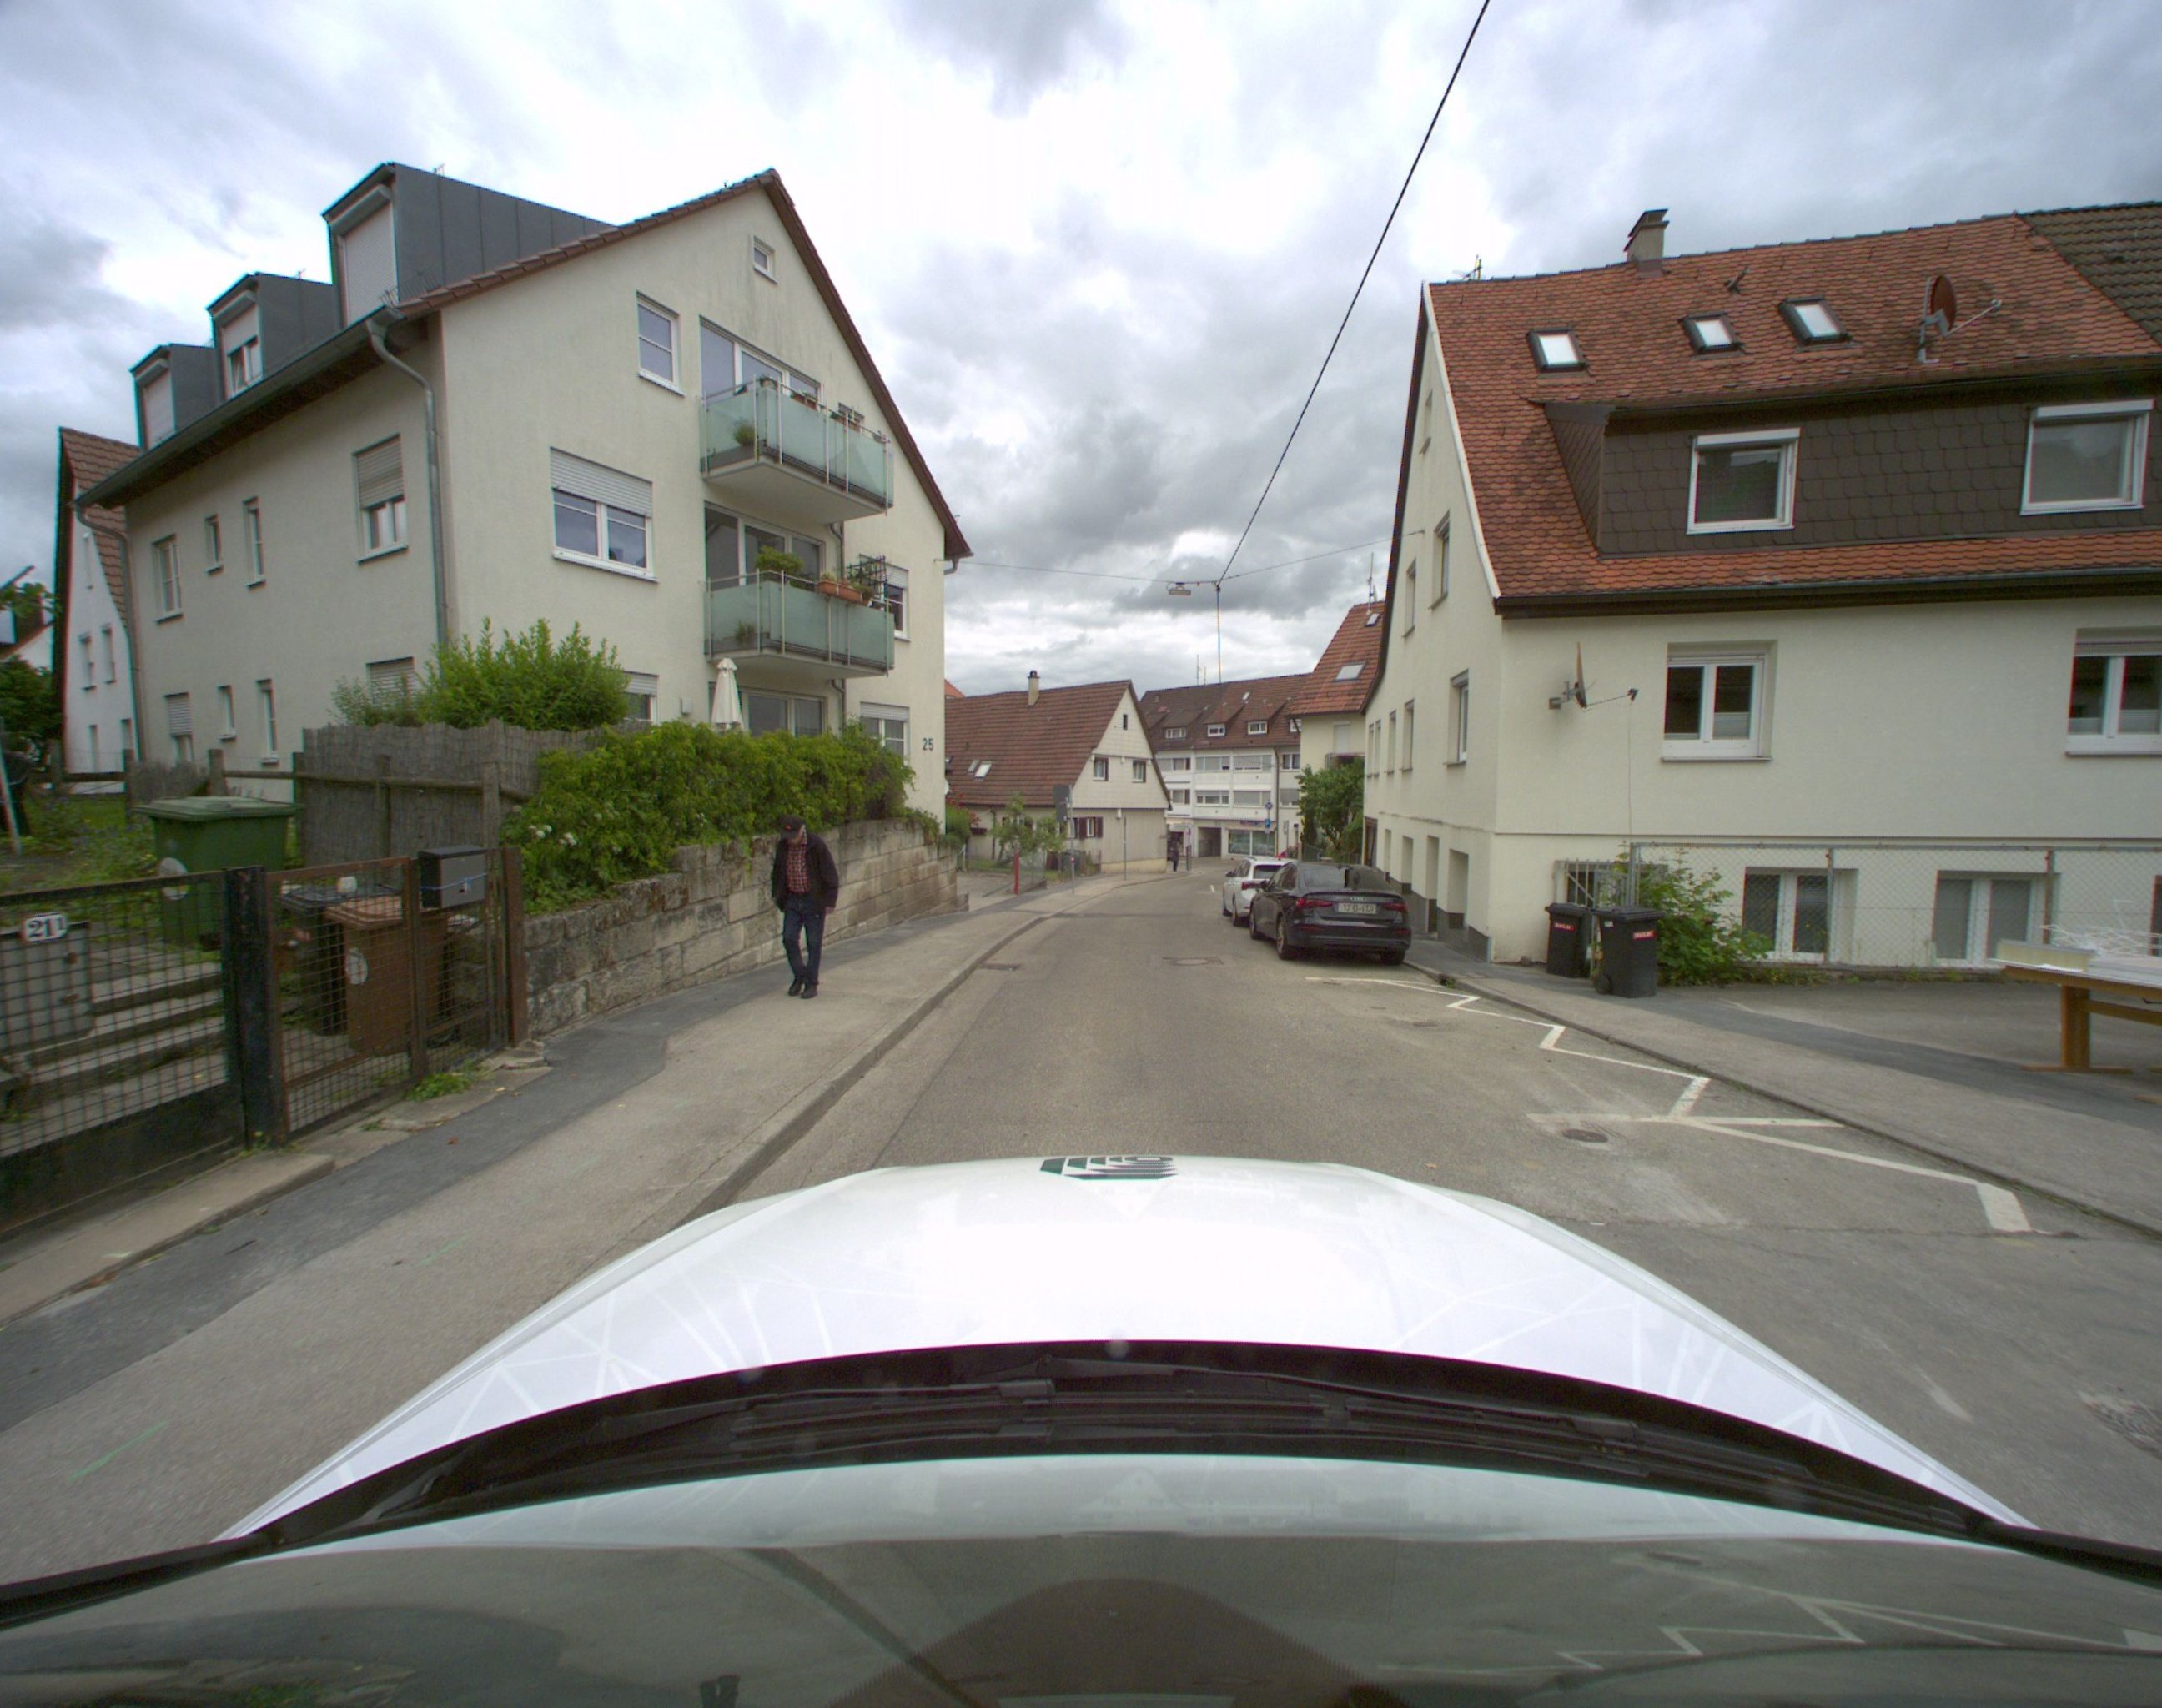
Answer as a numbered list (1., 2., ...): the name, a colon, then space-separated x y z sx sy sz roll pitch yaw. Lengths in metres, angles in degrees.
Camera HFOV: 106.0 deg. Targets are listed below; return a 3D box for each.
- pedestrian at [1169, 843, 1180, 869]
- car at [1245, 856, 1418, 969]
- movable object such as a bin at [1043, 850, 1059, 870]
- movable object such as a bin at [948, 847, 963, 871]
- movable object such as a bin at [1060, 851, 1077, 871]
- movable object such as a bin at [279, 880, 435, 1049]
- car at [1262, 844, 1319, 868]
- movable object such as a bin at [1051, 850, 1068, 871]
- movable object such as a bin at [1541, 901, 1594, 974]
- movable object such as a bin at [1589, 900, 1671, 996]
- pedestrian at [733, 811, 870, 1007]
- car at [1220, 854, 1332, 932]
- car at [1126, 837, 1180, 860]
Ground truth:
1. pedestrian: 6.087 0.122 52.883 0.644 1.684 0.605 1 2 2
2. car: 3.772 0.794 12.977 1.666 1.408 4.055 3 0 3
3. movable object such as a bin: -1.393 0.266 38.276 0.490 0.877 0.455 6 1 37
4. movable object such as a bin: -5.273 0.204 34.253 0.395 0.981 0.511 0 0 24
5. movable object such as a bin: -0.581 0.323 37.602 0.522 0.884 0.493 6 1 37
6. movable object such as a bin: -4.739 0.687 5.346 0.584 0.931 0.607 5 5 31
7. car: 15.153 0.137 59.115 1.706 1.556 3.652 0 2 -42
8. movable object such as a bin: -0.993 0.318 37.909 0.522 0.917 0.493 6 1 37
9. movable object such as a bin: 6.228 1.054 10.423 0.436 0.866 0.447 -1 2 -39
10. movable object such as a bin: 5.696 0.959 8.468 0.462 0.917 0.542 -3 -1 3
11. pedestrian: -2.580 0.480 7.640 0.837 1.677 0.977 3 0 1
12. car: 4.176 0.758 18.079 1.786 1.445 4.304 3 0 5
13. car: 6.011 -0.461 68.392 1.958 1.779 4.316 -1 3 -43
